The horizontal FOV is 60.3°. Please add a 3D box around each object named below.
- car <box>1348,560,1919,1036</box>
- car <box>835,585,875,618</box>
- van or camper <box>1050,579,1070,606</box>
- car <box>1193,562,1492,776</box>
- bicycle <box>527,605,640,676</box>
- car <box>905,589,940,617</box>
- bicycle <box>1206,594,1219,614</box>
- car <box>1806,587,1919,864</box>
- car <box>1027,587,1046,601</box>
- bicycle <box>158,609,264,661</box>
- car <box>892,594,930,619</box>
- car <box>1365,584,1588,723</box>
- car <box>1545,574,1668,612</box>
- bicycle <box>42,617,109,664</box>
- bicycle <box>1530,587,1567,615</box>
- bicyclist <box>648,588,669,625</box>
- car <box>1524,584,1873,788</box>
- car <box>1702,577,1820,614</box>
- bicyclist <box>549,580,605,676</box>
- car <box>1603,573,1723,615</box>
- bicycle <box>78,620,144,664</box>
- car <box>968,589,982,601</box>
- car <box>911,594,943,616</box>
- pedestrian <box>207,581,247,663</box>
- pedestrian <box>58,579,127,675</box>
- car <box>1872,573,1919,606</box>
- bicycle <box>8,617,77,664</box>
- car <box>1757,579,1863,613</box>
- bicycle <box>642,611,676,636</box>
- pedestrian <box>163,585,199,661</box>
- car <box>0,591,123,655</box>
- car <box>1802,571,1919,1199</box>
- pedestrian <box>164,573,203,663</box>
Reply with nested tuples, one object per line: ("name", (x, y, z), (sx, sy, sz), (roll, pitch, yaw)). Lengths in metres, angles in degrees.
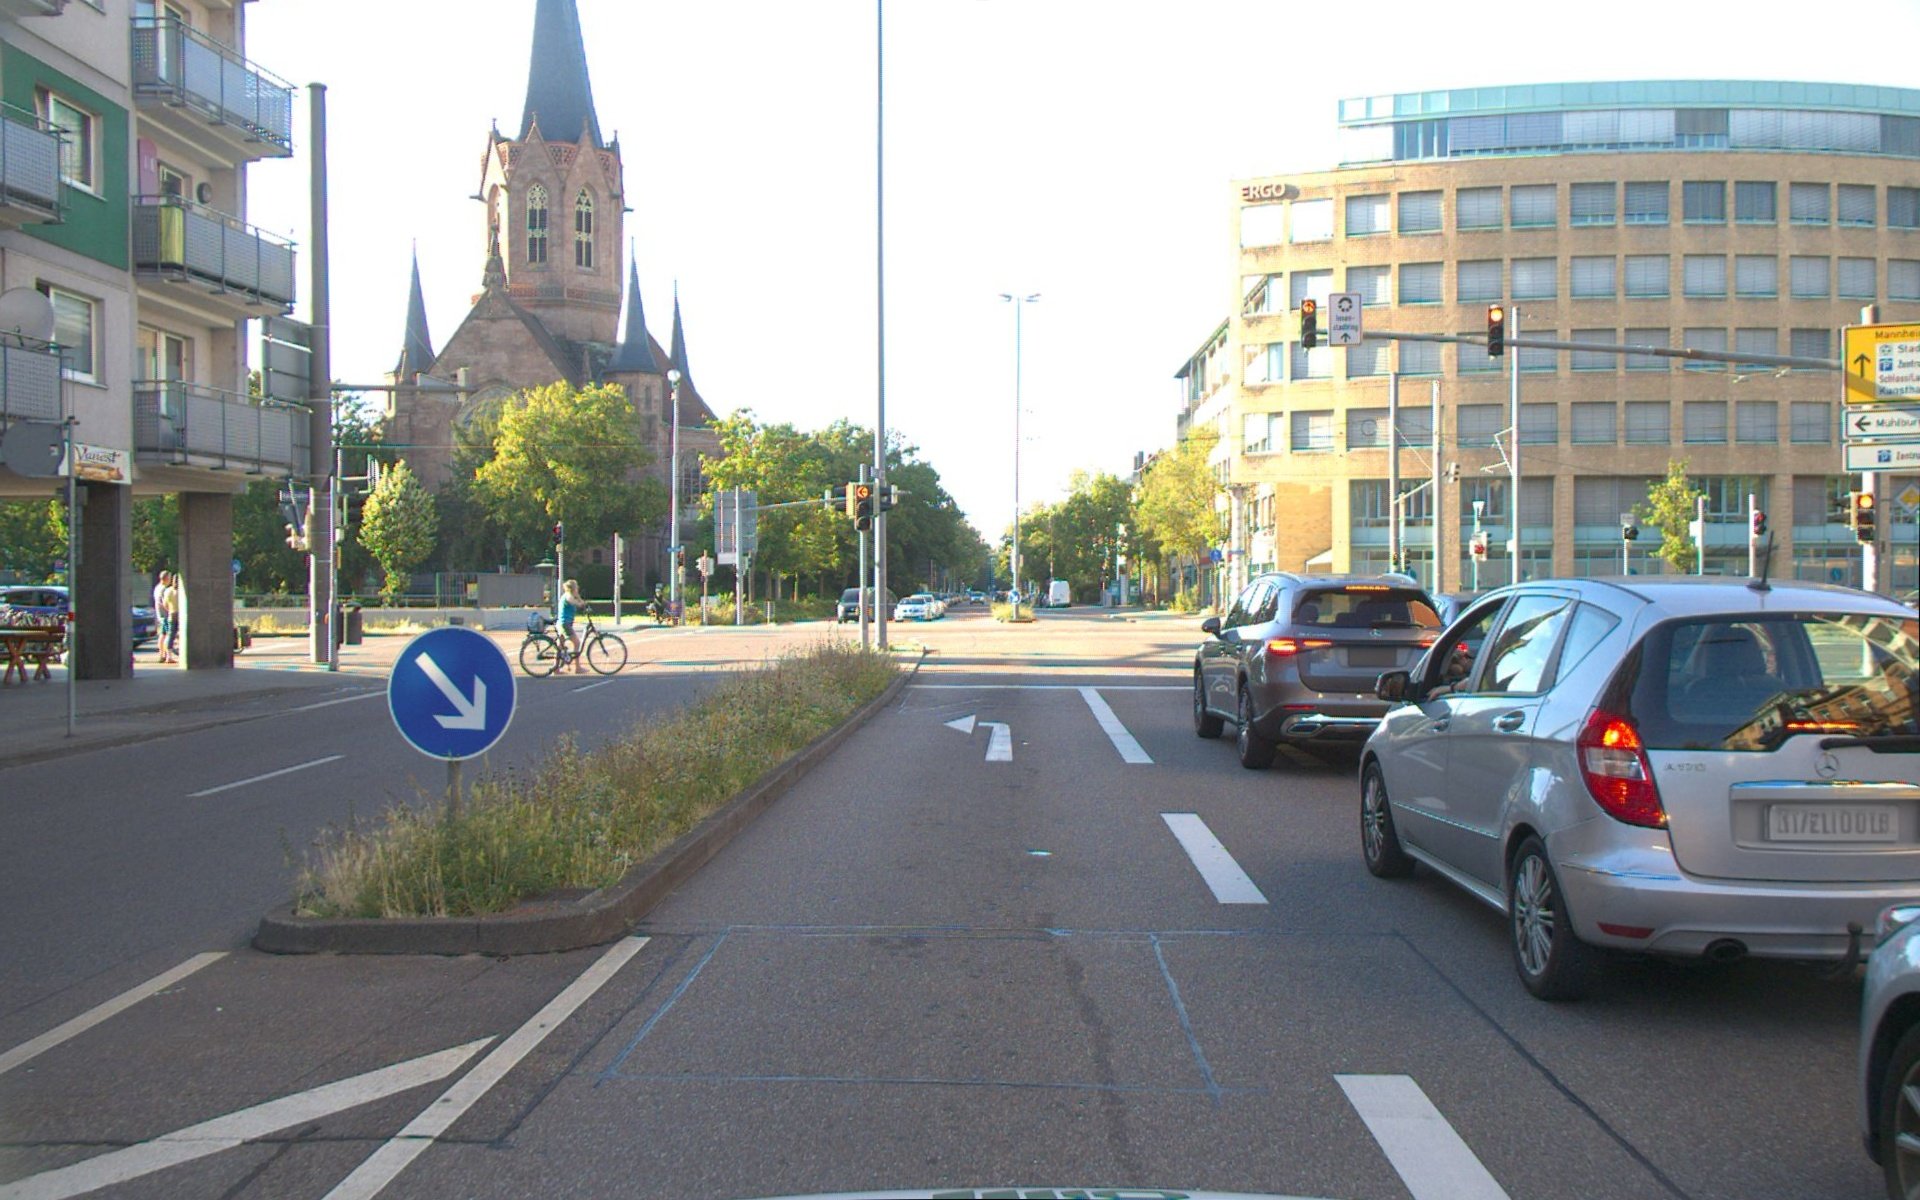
("car", (3.042, 0.644, 7.396), (1.766, 1.596, 3.618), (-1, 1, 0))
("car", (-5.488, 0.080, 86.974), (1.743, 1.676, 4.001), (0, 1, 2))
("van or camper", (10.012, -0.765, 165.692), (1.952, 2.686, 5.352), (0, 1, 3))
("car", (3.315, 0.514, 15.210), (1.747, 1.661, 4.479), (0, 1, 0))
("bicycle", (-6.584, 0.700, 28.951), (1.790, 1.209, 0.734), (0, 0, 0))
("car", (-2.111, 0.133, 92.936), (1.743, 1.490, 4.001), (0, 1, 2))
("bicycle", (15.835, 0.259, 103.660), (0.757, 1.216, 2.467), (0, 1, 9))
("car", (6.058, 0.711, 8.204), (1.616, 1.510, 4.240), (1, 1, 1))
("car", (9.077, -0.753, 196.778), (1.953, 1.620, 3.999), (0, 1, -2))
("bicycle", (-17.951, 0.840, 39.666), (2.001, 1.188, 1.161), (-1, 0, -1))
("car", (-2.531, 0.320, 86.368), (1.743, 1.257, 4.001), (0, 1, 2))
("car", (6.040, 0.566, 19.740), (1.552, 1.472, 3.648), (1, 1, 1))
("car", (28.047, -0.315, 71.813), (4.553, 1.626, 2.000), (0, 0, -2))
("bicycle", (-18.579, 0.843, 34.767), (0.486, 0.922, 1.703), (0, 1, 0))
("bicycle", (26.164, 0.044, 73.567), (1.487, 1.193, 0.475), (0, 0, 8))
("bicyclist", (-14.053, 0.299, 77.062), (0.768, 1.723, 0.637), (0, 0, 41))
("car", (6.181, 0.634, 14.258), (1.459, 1.532, 3.479), (0, 1, 0))
("car", (34.471, -0.188, 71.262), (4.143, 1.528, 1.999), (0, 1, -2))
("bicyclist", (-6.819, 0.488, 29.457), (0.766, 1.689, 0.901), (-1, 0, 0))
("car", (29.012, -0.256, 68.342), (4.140, 1.642, 2.001), (0, 0, 3))
("bicycle", (-17.811, 0.863, 34.729), (0.486, 0.854, 1.703), (0, 1, 0))
("car", (1.891, -0.696, 211.042), (1.743, 1.474, 4.001), (0, 1, 2))
("car", (-1.993, 0.292, 100.201), (1.743, 1.257, 4.001), (0, 1, 2))
("pedestrian", (-15.072, 0.451, 34.023), (0.458, 1.670, 0.576), (0, 0, 21))
("pedestrian", (-16.422, 0.498, 31.322), (0.903, 1.789, 0.675), (0, 0, 10))
("car", (40.269, -0.442, 68.494), (3.906, 1.370, 2.000), (0, 0, -1))
("bicycle", (-19.193, 0.833, 34.642), (0.486, 0.922, 1.703), (0, 1, 0))
("car", (35.045, -0.189, 68.247), (3.533, 1.366, 1.722), (0, 0, 2))
("bicycle", (-14.014, 1.086, 77.039), (1.649, 1.159, 0.644), (0, 1, 41))
("pedestrian", (-16.104, 0.475, 34.211), (0.458, 1.557, 0.576), (0, 0, 0))
("car", (-24.048, 0.578, 42.350), (4.311, 1.601, 1.836), (0, 0, 2))
("car", (2.980, 0.731, 2.116), (1.672, 1.536, 4.310), (1, 1, 1))
("pedestrian", (-15.703, 0.360, 33.436), (0.541, 1.800, 0.470), (0, 0, 3))
